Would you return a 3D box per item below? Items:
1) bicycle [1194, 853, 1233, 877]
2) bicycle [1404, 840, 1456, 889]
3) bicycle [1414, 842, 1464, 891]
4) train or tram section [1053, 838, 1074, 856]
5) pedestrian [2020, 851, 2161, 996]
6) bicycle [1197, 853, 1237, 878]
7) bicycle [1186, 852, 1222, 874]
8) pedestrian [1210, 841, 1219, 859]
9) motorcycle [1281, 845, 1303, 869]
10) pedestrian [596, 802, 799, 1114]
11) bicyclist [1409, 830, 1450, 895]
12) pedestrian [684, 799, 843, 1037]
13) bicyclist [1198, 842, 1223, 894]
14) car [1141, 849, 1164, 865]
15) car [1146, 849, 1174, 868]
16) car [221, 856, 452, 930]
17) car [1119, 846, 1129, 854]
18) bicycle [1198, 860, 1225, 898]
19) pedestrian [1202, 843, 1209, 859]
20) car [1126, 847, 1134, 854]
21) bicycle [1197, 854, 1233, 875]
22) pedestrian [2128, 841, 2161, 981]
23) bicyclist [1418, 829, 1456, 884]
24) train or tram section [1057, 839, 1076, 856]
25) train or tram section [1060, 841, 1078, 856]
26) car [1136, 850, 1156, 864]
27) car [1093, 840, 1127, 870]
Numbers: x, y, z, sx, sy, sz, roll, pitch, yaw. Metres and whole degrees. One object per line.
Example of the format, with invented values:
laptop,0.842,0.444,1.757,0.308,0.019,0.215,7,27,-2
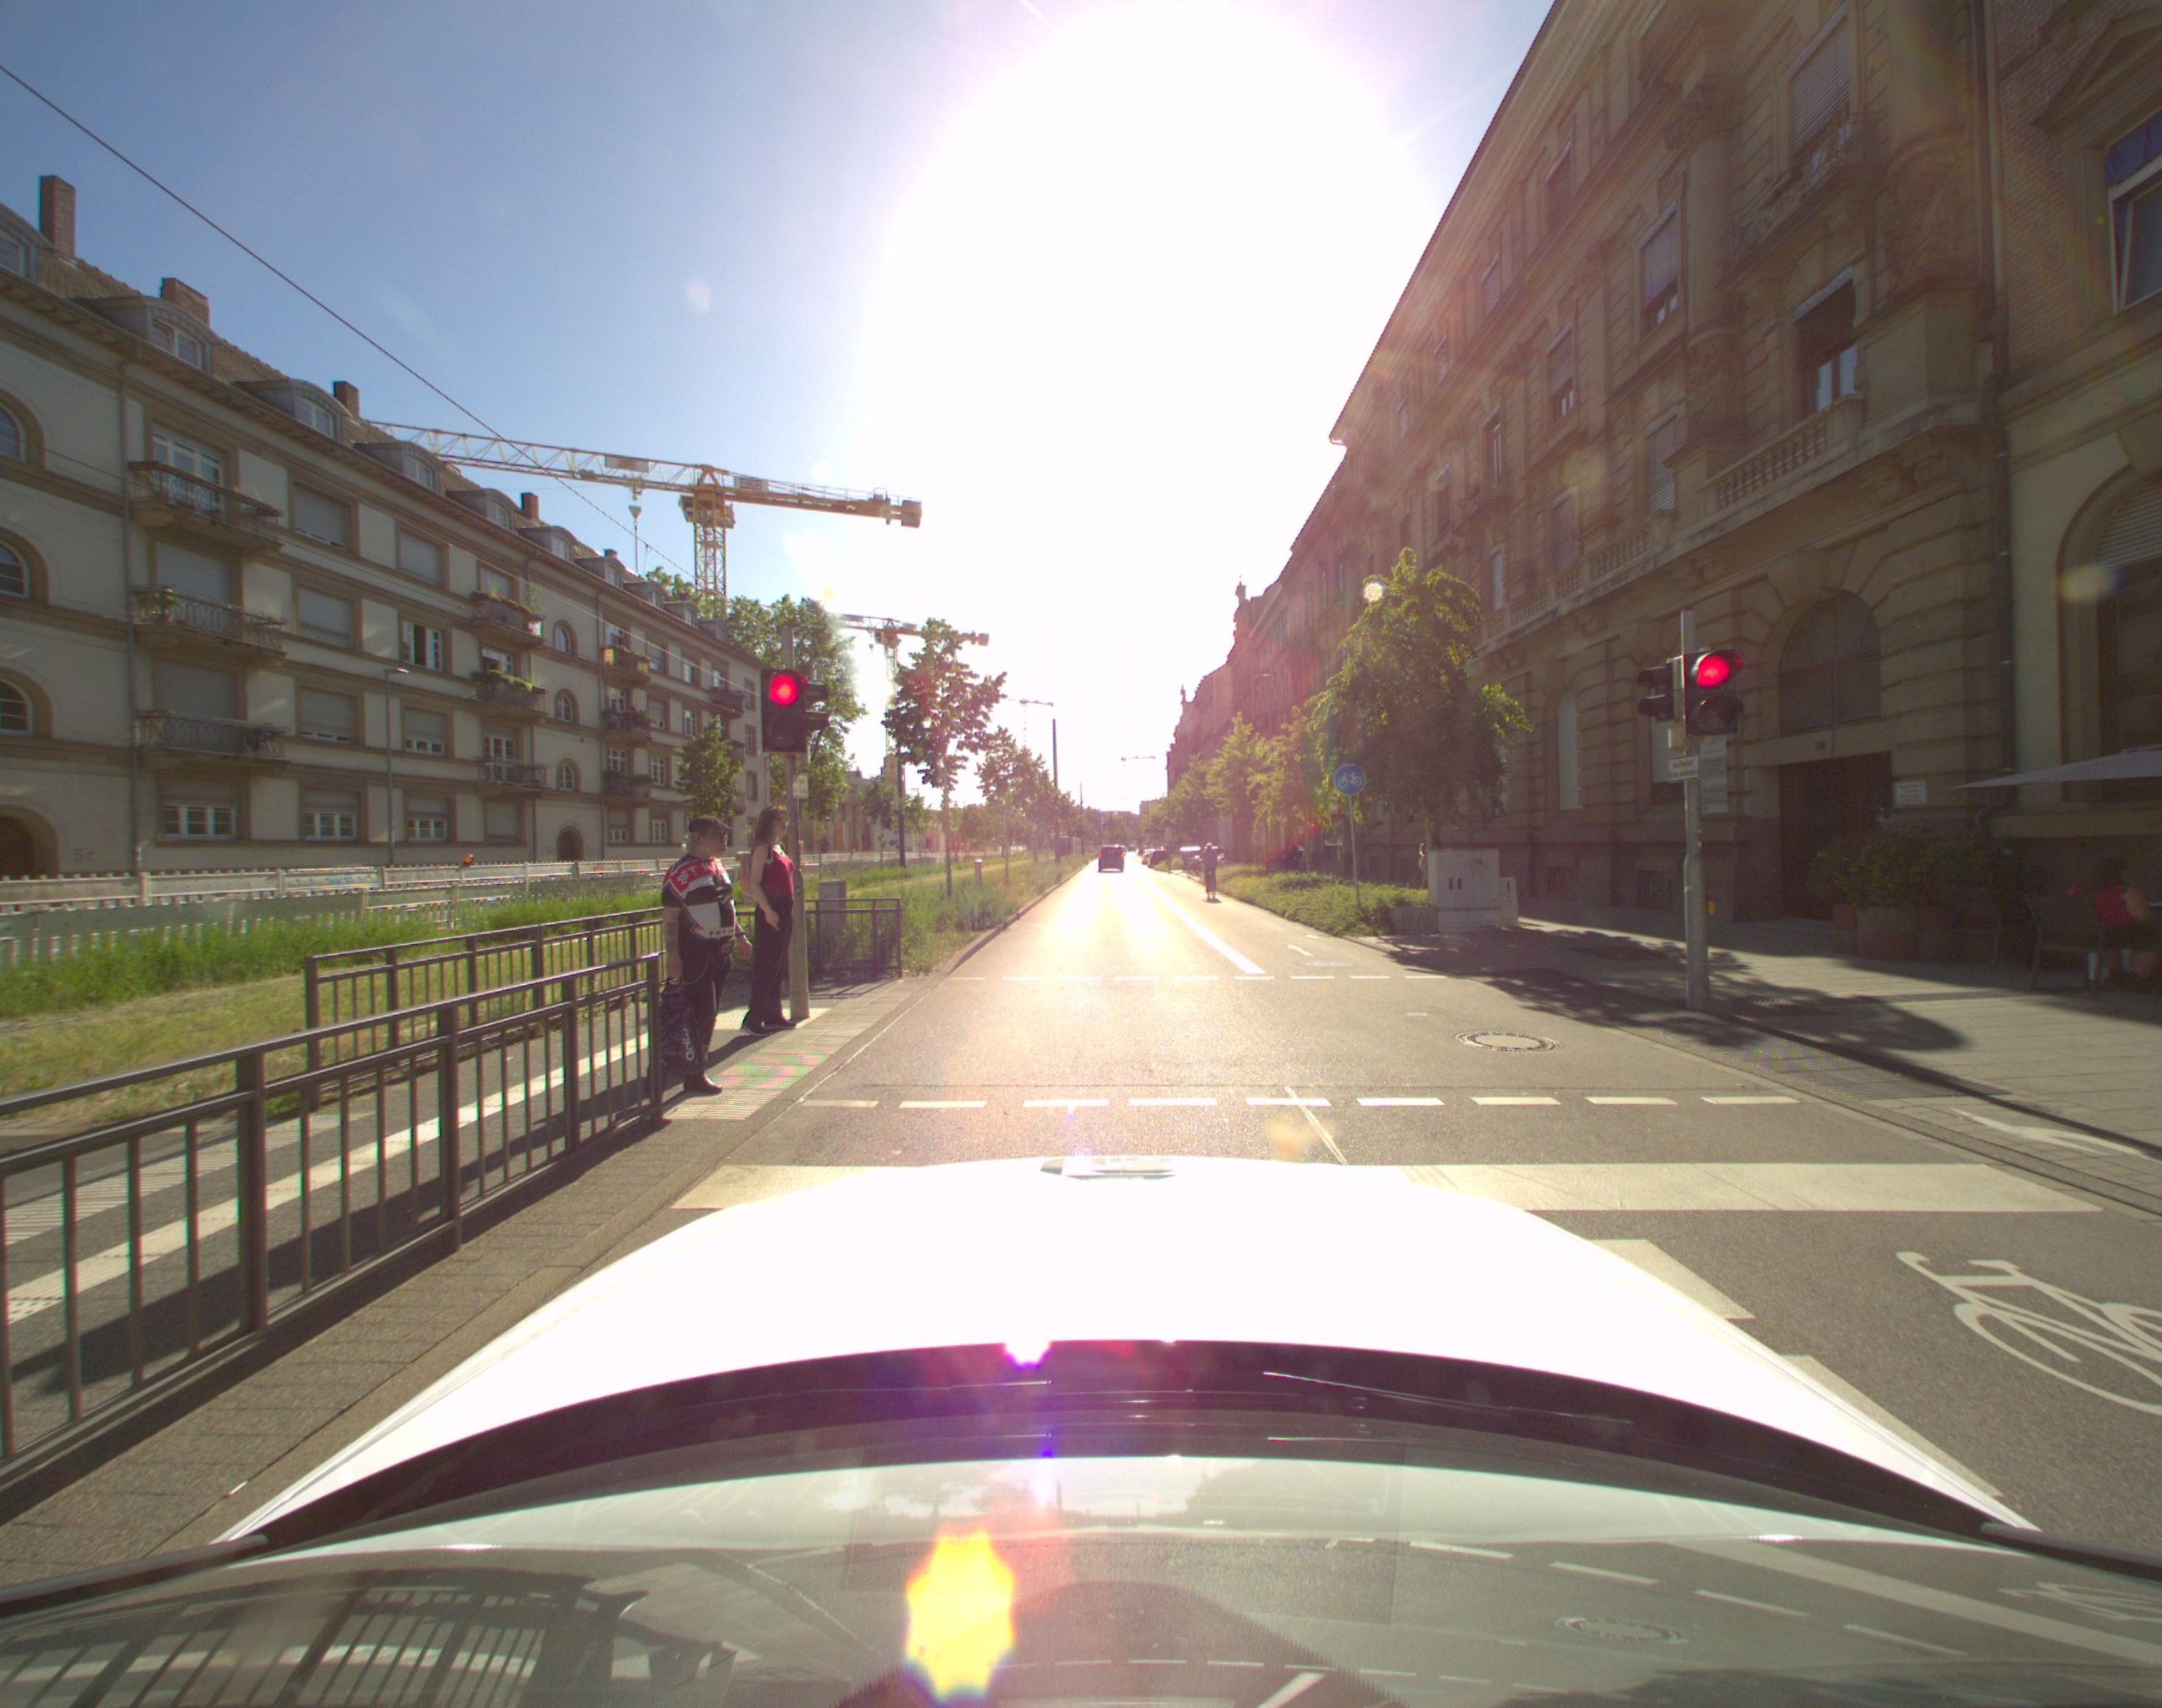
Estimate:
bicycle,6.699,0.556,41.189,1.786,1.030,0.528,-6,0,1
bicycle,9.094,0.257,21.288,0.581,1.222,1.901,-1,1,2
bicycle,10.514,0.355,23.972,0.613,1.330,1.902,-6,0,3
train or tram section,-2.723,-1.009,127.030,2.746,2.742,9.867,0,0,2
pedestrian,9.016,0.586,7.174,0.703,1.178,0.635,-3,0,1
bicycle,6.660,0.552,39.815,1.786,1.030,0.528,-6,0,1
bicycle,6.687,0.494,44.171,1.786,1.030,0.528,-6,0,1
pedestrian,12.010,-0.353,73.250,0.611,1.611,0.669,-2,0,1
motorcycle,11.474,0.162,44.303,0.697,1.267,1.983,-2,0,2
pedestrian,-2.389,0.593,5.211,0.863,1.788,0.969,-1,0,-5
bicyclist,9.080,0.208,21.246,0.663,1.639,0.961,-2,0,2
pedestrian,-2.699,0.517,7.012,1.073,1.908,0.652,-2,0,-5
bicyclist,4.242,0.445,26.783,0.682,1.673,0.922,0,0,1
car,6.981,0.303,80.052,2.020,1.499,4.532,-2,0,2
car,6.521,0.335,67.721,2.020,1.499,4.656,-2,0,2
car,-17.826,0.848,19.802,1.809,1.516,4.002,-2,0,2
car,9.389,-0.815,178.443,1.986,1.729,4.001,0,0,2
bicycle,4.261,0.799,26.655,0.599,1.181,1.870,0,0,1
pedestrian,12.378,-0.322,81.158,0.611,1.611,0.669,-2,0,1
car,12.628,-0.851,208.587,1.986,1.838,4.002,0,0,2
bicycle,7.039,0.538,42.802,1.786,1.030,0.528,-2,0,1
pedestrian,10.024,0.502,7.184,0.703,1.236,0.635,-3,0,1
bicyclist,10.440,0.079,23.910,0.657,1.530,0.801,-6,0,3
train or tram section,-2.396,-0.974,136.875,2.746,2.742,9.867,0,0,2
train or tram section,-2.068,-0.940,146.693,2.746,2.742,9.867,0,0,2
car,7.323,0.331,92.581,2.020,1.499,4.532,-2,0,2
car,2.025,0.061,57.096,2.192,1.926,4.656,-2,0,2
